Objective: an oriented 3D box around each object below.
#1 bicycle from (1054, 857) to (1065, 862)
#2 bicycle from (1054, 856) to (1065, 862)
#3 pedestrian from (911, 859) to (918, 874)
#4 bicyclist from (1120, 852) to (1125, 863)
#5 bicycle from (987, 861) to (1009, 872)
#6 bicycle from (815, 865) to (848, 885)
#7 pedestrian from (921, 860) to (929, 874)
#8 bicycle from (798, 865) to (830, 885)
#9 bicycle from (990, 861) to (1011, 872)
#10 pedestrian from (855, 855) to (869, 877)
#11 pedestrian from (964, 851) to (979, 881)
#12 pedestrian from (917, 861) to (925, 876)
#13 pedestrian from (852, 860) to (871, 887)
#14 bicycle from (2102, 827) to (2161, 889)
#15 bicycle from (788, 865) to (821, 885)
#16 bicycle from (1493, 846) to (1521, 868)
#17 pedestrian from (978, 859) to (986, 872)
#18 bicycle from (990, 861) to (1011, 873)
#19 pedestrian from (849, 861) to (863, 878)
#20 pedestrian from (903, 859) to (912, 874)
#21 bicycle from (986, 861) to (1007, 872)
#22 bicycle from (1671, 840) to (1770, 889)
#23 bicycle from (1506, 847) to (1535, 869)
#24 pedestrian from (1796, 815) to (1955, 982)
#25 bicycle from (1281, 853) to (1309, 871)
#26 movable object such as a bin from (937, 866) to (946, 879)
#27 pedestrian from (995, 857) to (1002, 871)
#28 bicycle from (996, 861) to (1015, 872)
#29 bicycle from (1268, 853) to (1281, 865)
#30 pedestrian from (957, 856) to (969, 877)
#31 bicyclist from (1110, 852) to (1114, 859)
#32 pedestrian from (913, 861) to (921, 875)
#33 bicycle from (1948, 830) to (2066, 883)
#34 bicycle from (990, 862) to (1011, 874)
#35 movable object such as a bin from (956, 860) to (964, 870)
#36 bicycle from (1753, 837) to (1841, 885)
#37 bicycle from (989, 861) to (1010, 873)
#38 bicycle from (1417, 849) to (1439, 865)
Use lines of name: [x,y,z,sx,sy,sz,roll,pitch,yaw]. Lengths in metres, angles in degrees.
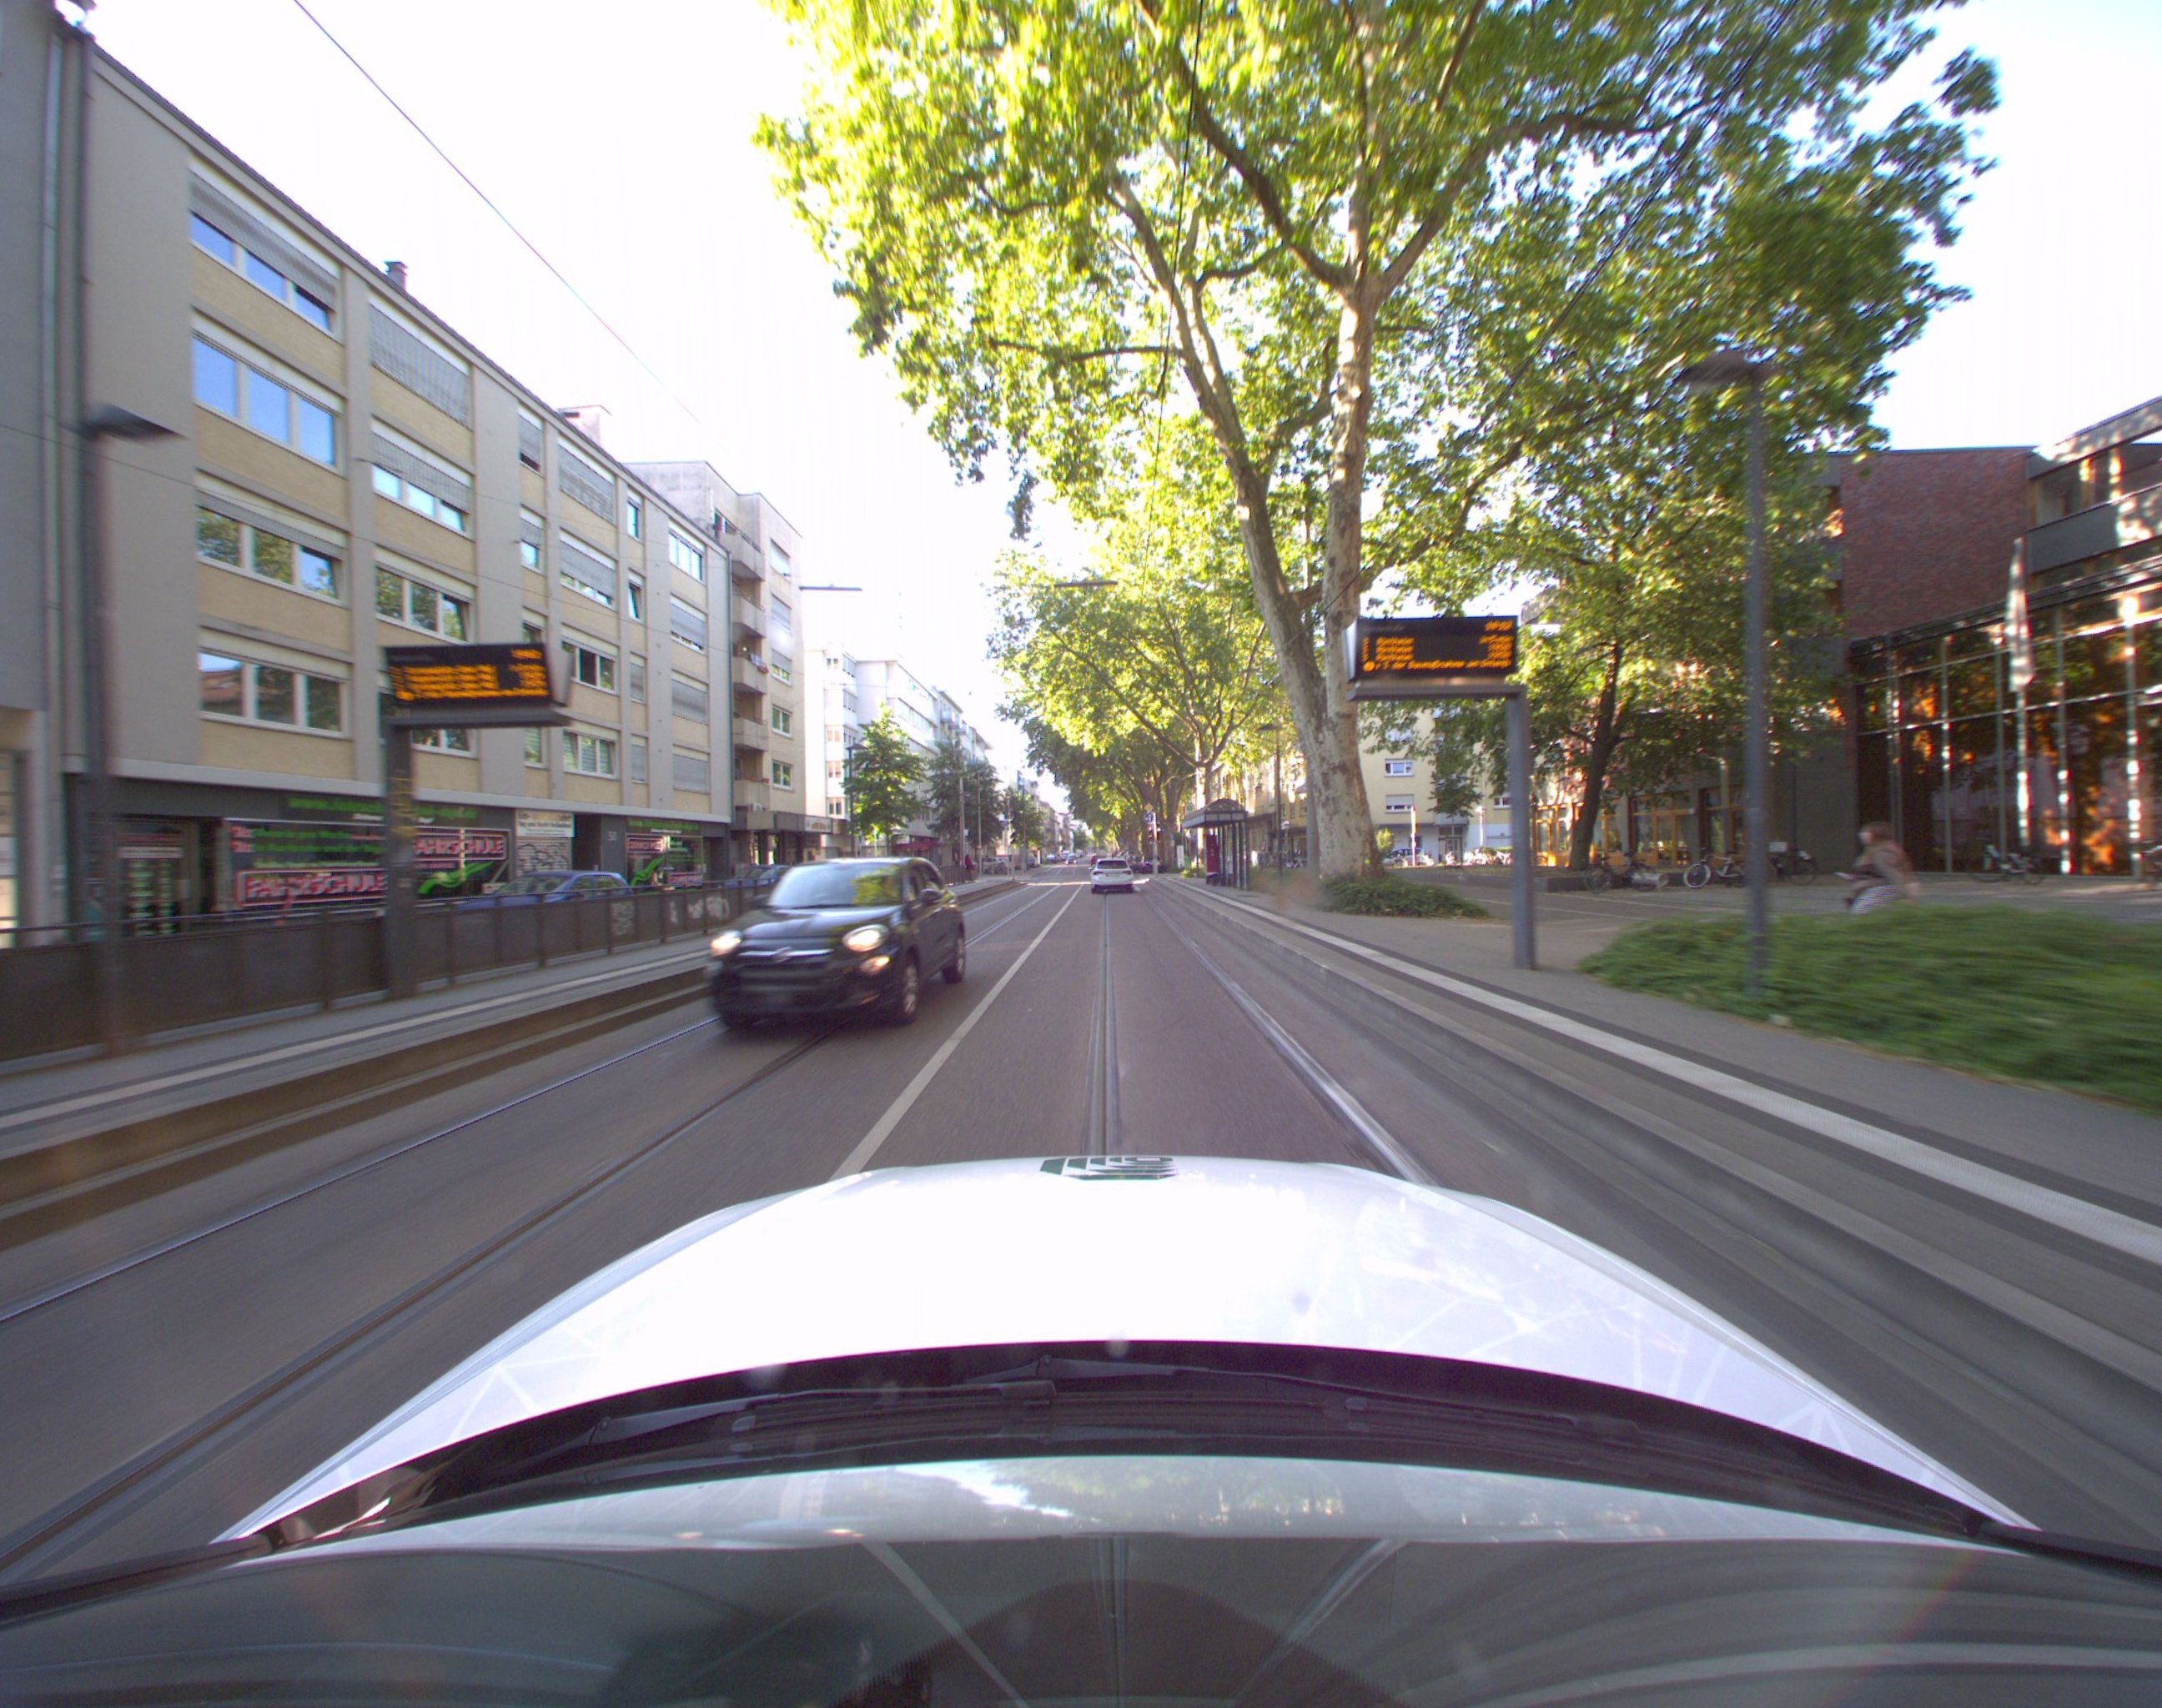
bicycle: [-5.131,1.206,192.716,2.520,1.172,0.718,1,-2,-5]
bicycle: [-5.052,1.207,191.968,2.545,1.172,0.873,2,-2,-38]
pedestrian: [-13.707,1.048,67.127,0.512,1.198,0.561,-2,0,-15]
bicyclist: [5.555,0.469,109.366,0.676,1.443,1.047,-2,0,2]
bicycle: [-7.241,1.092,71.128,1.825,1.007,0.657,0,-1,-4]
bicycle: [-15.300,1.307,49.935,1.849,1.156,0.573,-2,0,5]
pedestrian: [-13.579,1.128,71.072,0.514,1.198,0.558,-2,0,-28]
bicycle: [-16.629,1.316,50.729,1.772,1.156,0.574,-2,0,12]
bicycle: [-7.163,1.120,72.906,1.825,1.007,0.657,0,-1,-4]
pedestrian: [-16.837,0.923,62.616,0.743,1.659,0.770,-2,0,7]
pedestrian: [-5.724,0.620,42.599,0.651,1.585,0.773,-1,0,2]
pedestrian: [-13.525,1.232,68.823,0.509,1.198,0.564,-2,0,3]
pedestrian: [-13.088,1.168,48.551,0.718,1.556,0.730,-2,0,31]
bicycle: [21.605,0.056,16.449,1.953,1.156,0.727,-3,0,-25]
bicycle: [-16.900,1.306,49.842,1.781,1.156,0.571,-2,0,-6]
bicycle: [23.642,0.182,45.247,0.659,1.156,1.698,-3,0,1]
pedestrian: [-9.530,1.105,78.320,0.713,1.297,0.744,-2,0,-13]
bicycle: [-7.119,1.142,72.092,1.825,1.064,0.657,0,-1,-4]
pedestrian: [-17.036,1.142,61.683,0.752,1.241,0.761,-2,0,-32]
pedestrian: [-14.403,1.066,67.498,0.566,1.198,0.508,-2,0,-34]
bicycle: [-7.344,1.089,70.689,1.825,1.007,0.657,0,-1,-4]
bicycle: [16.798,0.274,21.424,2.020,1.156,0.573,-3,0,6]
bicycle: [24.367,0.243,45.195,0.659,1.156,1.698,-3,0,1]
pedestrian: [8.400,0.443,8.656,0.763,1.659,0.917,-2,0,1]
bicycle: [15.395,0.590,58.572,1.798,1.156,0.740,-3,0,-21]
movable object such as a bin: [-9.971,1.319,58.329,0.539,0.932,0.647,-2,0,-15]
pedestrian: [-9.744,1.157,96.354,0.761,1.691,0.794,-1,0,0]
bicycle: [-6.904,1.159,74.255,1.687,1.007,0.657,0,-1,-4]
bicycle: [16.859,0.459,71.138,0.569,0.997,1.778,-3,0,-3]
pedestrian: [-8.907,0.974,61.497,0.723,1.556,0.768,-2,0,-4]
bicyclist: [5.815,0.231,151.186,0.647,1.344,0.934,-2,0,0]
pedestrian: [-14.555,1.231,72.447,0.560,1.198,0.624,-2,0,0]
bicycle: [21.878,0.060,19.307,0.701,1.156,2.044,-3,0,11]
bicycle: [-6.838,1.199,69.195,1.687,1.007,0.657,0,-1,-4]
movable object such as a bin: [-12.825,1.187,86.146,0.675,1.055,0.622,-2,0,3]
bicycle: [18.751,0.180,21.346,1.669,1.156,0.573,-3,0,6]
bicycle: [-7.190,1.140,71.773,1.825,1.007,0.657,0,-1,-4]
bicycle: [26.187,0.225,61.412,1.704,1.156,0.595,-3,0,-33]
